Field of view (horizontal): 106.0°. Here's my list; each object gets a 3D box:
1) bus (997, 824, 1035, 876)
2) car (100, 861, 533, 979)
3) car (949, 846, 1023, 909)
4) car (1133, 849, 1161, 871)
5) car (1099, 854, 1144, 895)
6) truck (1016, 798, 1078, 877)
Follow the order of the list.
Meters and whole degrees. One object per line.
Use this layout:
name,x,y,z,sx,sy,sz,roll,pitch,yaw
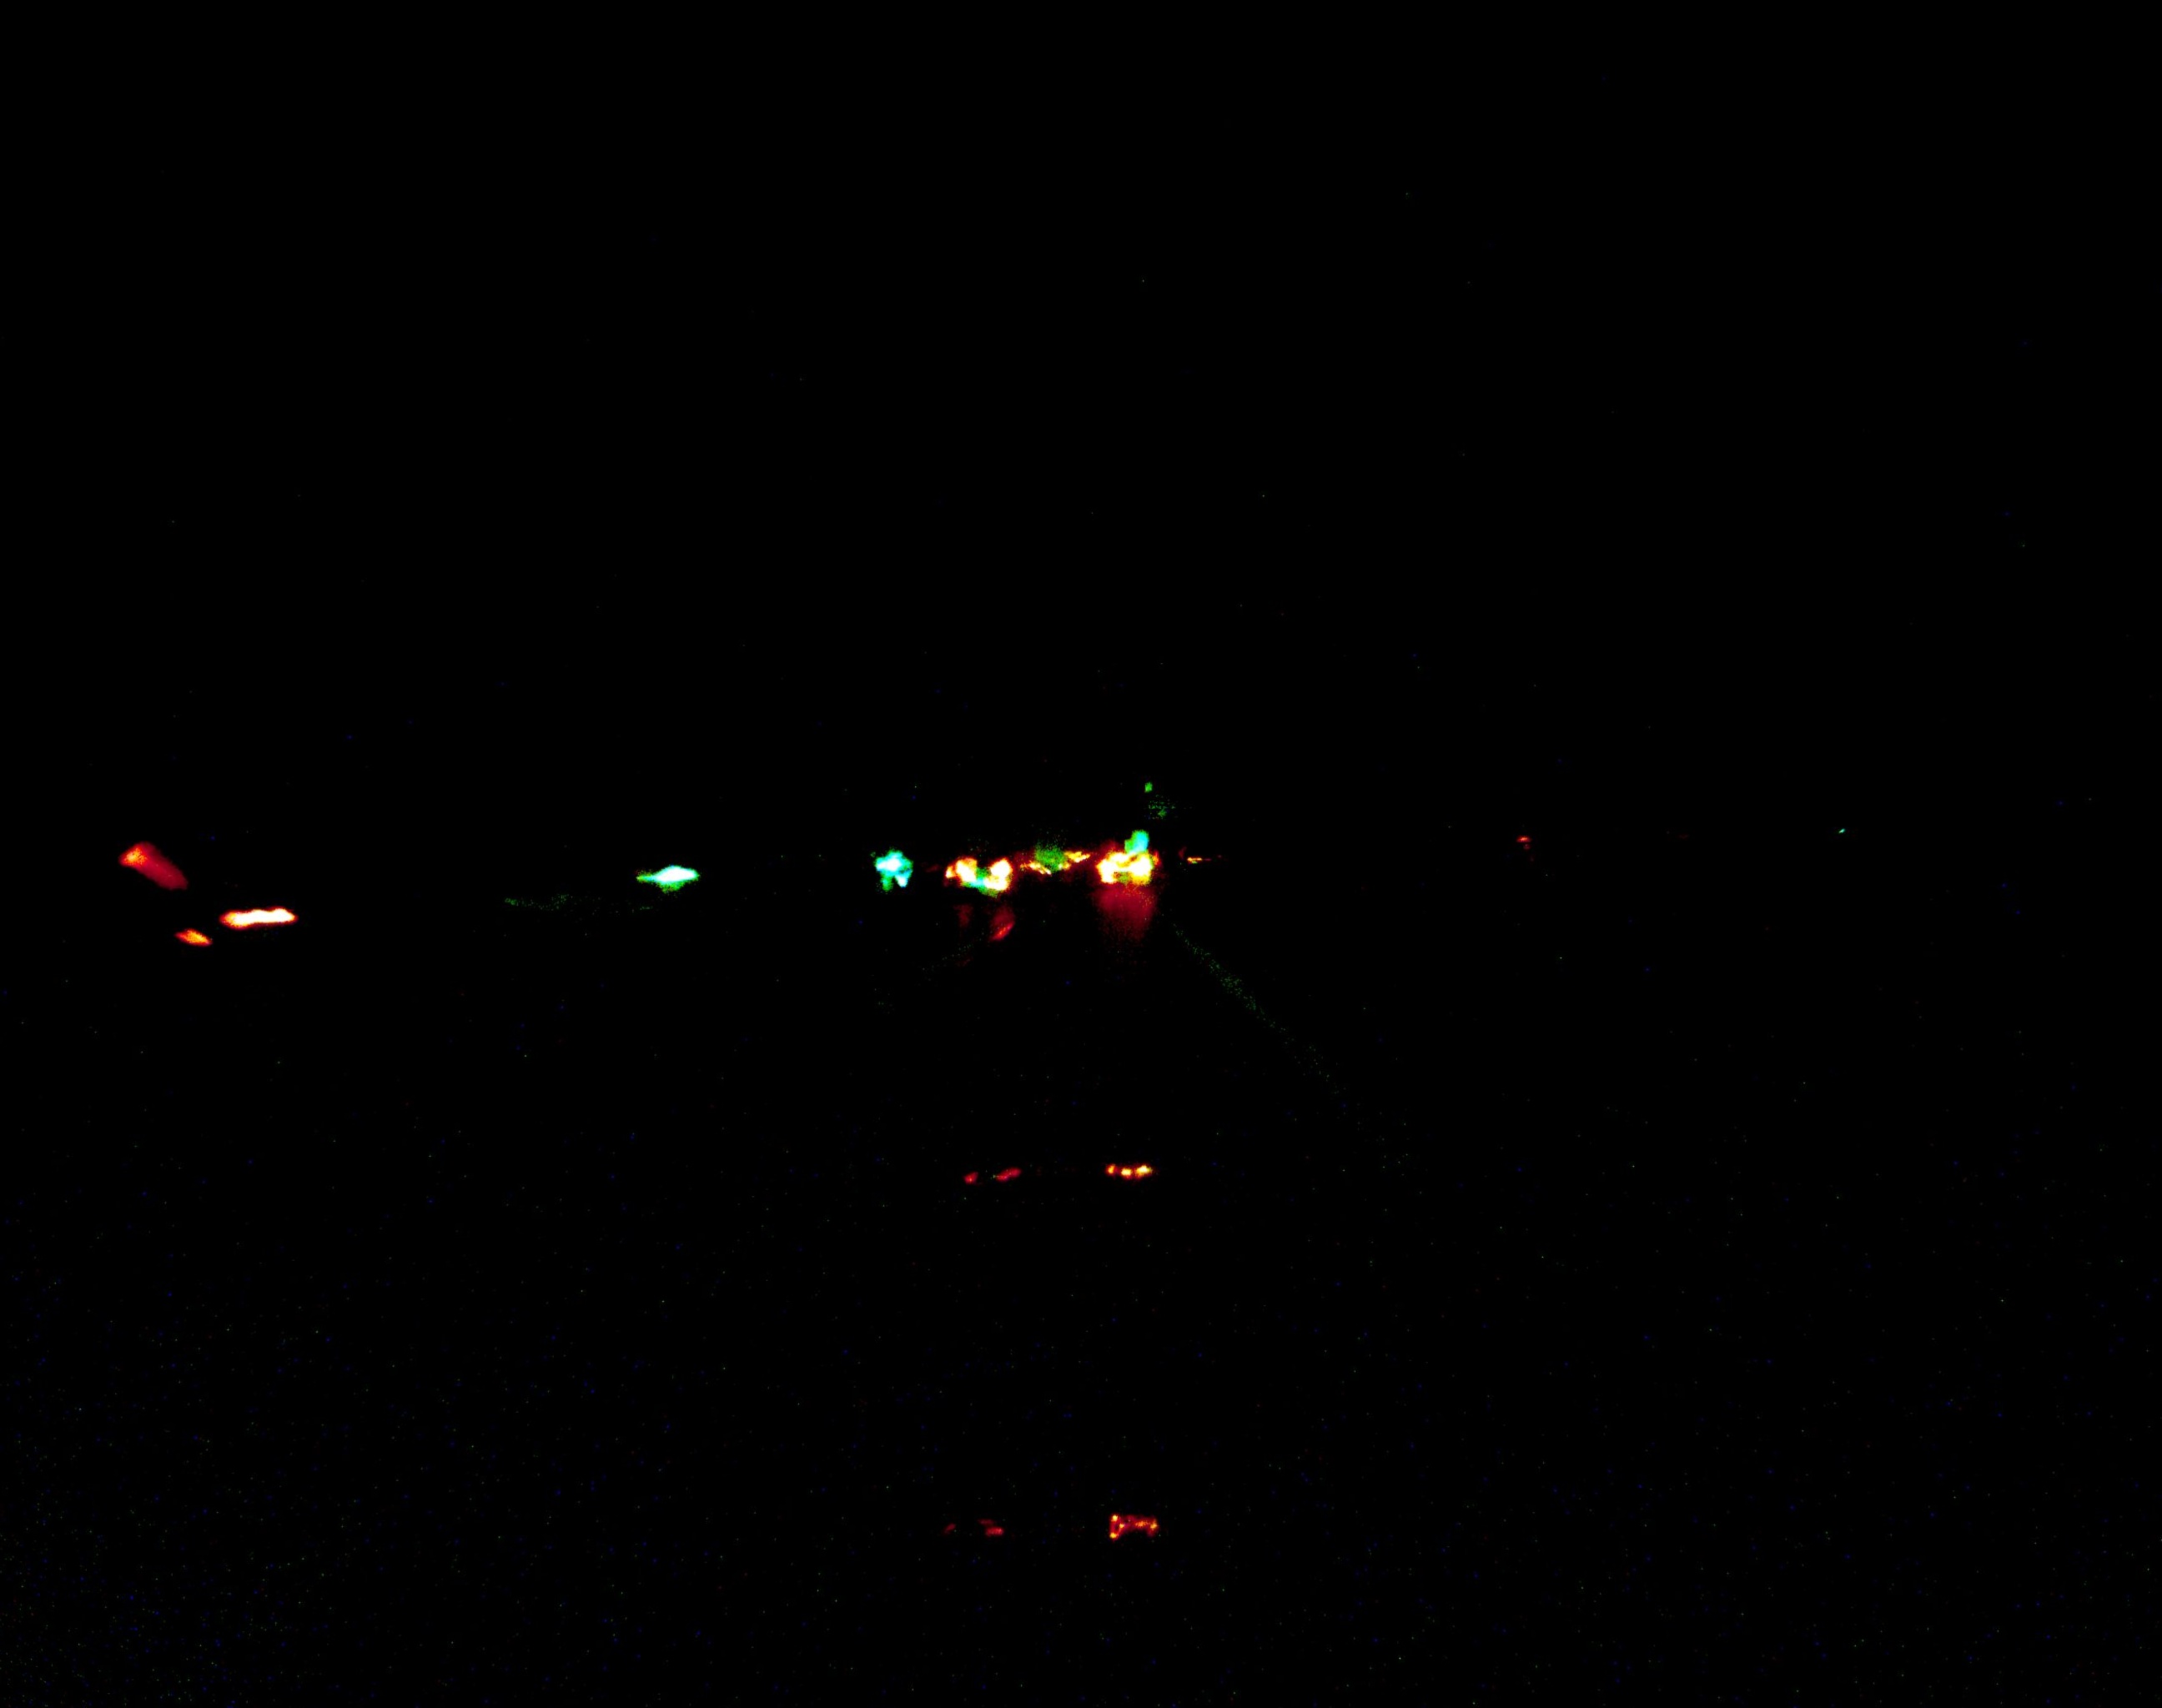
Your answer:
bus,-6.022,-0.330,77.209,3.089,4.508,10.904,0,0,-2
car,-11.511,0.864,13.000,1.987,1.476,5.165,0,0,1
car,-3.227,0.761,28.591,2.120,2.014,4.643,0,0,-1
car,5.634,0.505,70.255,1.988,1.807,3.997,0,0,-2
car,1.819,0.896,37.821,1.986,1.807,4.001,0,0,1
truck,-2.459,-1.152,63.890,4.196,5.648,11.468,0,0,1
